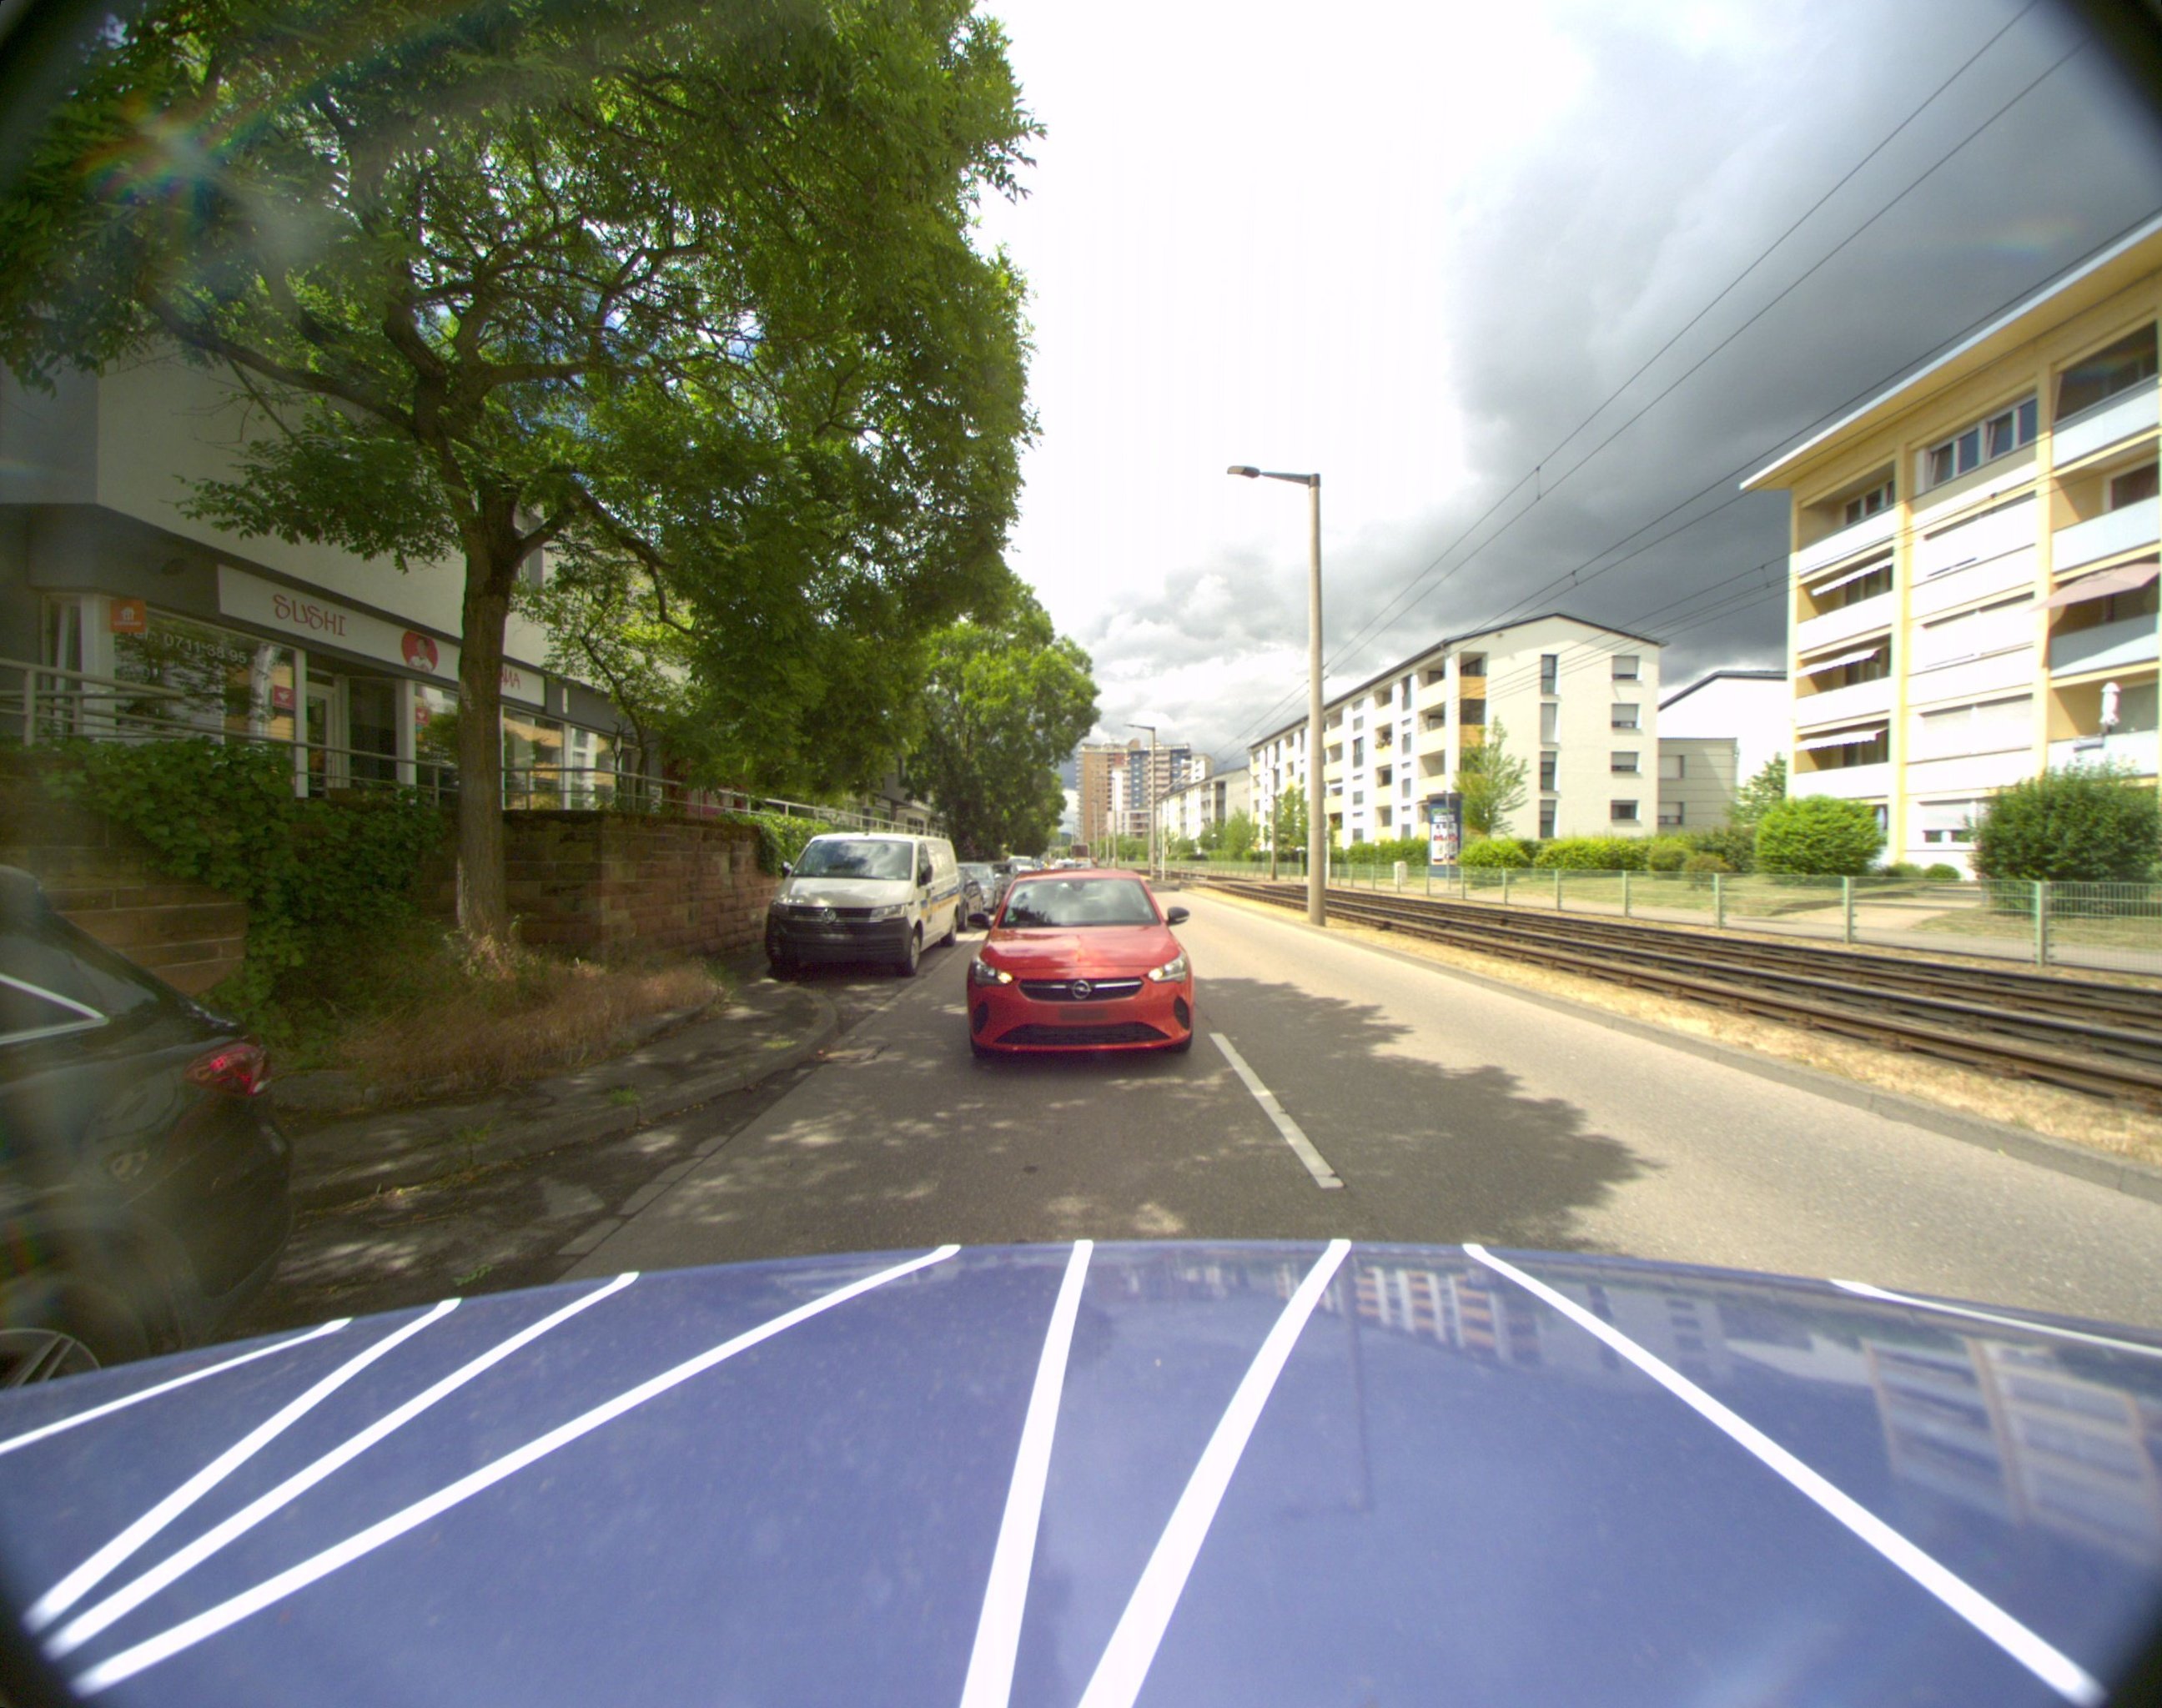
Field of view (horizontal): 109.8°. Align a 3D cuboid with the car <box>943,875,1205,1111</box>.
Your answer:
[{"bbox_3d":[-0.004,0.984,7.034,1.723,1.434,4.000,-1,0,1],"label":"car"}]

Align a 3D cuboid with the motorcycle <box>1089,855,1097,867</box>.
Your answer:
[{"bbox_3d":[1.328,0.749,82.263,0.783,1.181,1.869,-1,0,-1],"label":"motorcycle"}]

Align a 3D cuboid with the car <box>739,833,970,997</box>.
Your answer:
[{"bbox_3d":[-3.098,0.730,11.656,1.978,1.958,5.013,-1,0,0],"label":"car"}]

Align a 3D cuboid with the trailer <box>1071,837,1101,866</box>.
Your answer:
[{"bbox_3d":[0.505,-0.293,98.195,2.876,3.428,14.611,-2,0,-3],"label":"trailer"}]

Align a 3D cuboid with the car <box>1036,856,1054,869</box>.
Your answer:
[{"bbox_3d":[-4.054,0.919,86.034,1.784,1.420,4.147,-1,0,0],"label":"car"}]

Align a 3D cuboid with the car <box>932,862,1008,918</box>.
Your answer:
[{"bbox_3d":[-3.214,0.988,22.687,1.785,1.420,4.144,2,0,-2],"label":"car"}]

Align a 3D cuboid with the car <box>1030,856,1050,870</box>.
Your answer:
[{"bbox_3d":[-4.212,0.927,78.789,1.784,1.420,4.147,-1,0,0],"label":"car"}]

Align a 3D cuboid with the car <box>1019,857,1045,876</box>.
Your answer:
[{"bbox_3d":[-3.934,0.998,61.911,1.784,1.420,4.147,-1,0,0],"label":"car"}]

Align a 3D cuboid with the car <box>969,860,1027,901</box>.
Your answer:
[{"bbox_3d":[-3.163,0.972,29.682,1.784,1.420,4.147,-1,0,0],"label":"car"}]

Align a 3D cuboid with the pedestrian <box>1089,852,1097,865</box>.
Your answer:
[{"bbox_3d":[1.314,0.456,82.213,0.737,1.408,0.927,-2,1,-1],"label":"pedestrian"}]

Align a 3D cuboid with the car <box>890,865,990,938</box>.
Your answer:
[{"bbox_3d":[-3.152,1.014,17.618,1.578,1.420,3.734,-1,0,0],"label":"car"}]

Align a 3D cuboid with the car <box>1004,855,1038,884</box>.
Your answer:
[{"bbox_3d":[-3.520,0.886,45.077,1.819,1.643,4.146,0,0,-2],"label":"car"}]

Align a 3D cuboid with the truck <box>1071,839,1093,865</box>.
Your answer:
[{"bbox_3d":[0.123,-0.297,106.268,2.852,3.428,4.414,-2,0,-2],"label":"truck"}]

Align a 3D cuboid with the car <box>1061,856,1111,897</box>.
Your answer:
[{"bbox_3d":[0.156,0.901,32.329,1.927,1.543,3.999,-2,0,-1],"label":"car"}]
